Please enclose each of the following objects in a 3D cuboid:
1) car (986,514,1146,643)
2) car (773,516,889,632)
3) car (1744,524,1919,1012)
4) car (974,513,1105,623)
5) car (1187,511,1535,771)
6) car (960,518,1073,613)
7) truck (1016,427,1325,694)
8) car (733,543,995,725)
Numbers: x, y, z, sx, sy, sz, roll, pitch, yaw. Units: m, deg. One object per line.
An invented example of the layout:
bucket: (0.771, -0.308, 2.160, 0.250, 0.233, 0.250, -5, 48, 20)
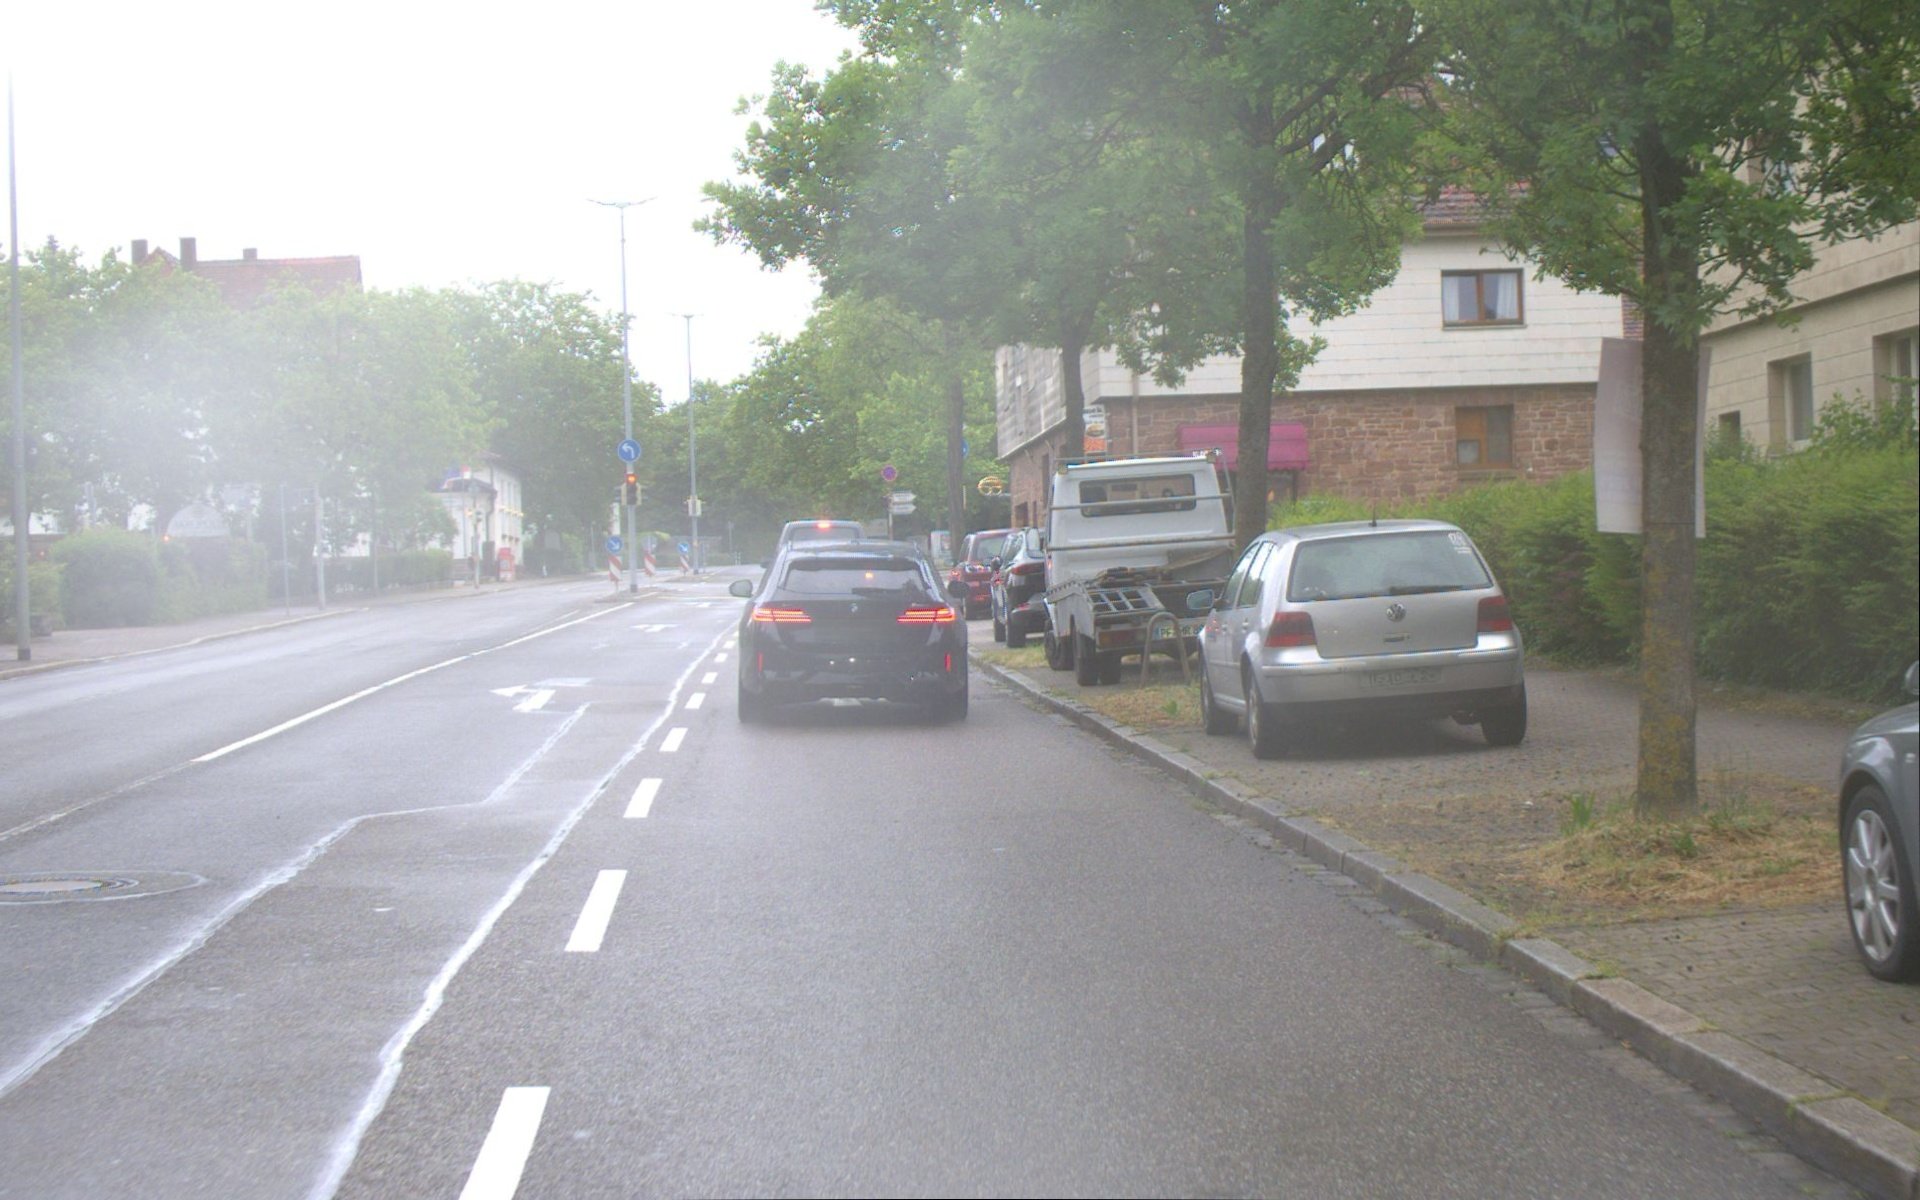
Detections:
car: (1.346, -0.317, 45.056, 1.714, 1.493, 4.184, -4, 1, -2)
car: (-2.166, -0.459, 56.830, 1.783, 1.811, 4.001, -1, 1, -4)
car: (3.636, 0.468, 9.247, 1.688, 1.385, 4.500, -4, 1, -4)
car: (1.149, -0.503, 51.120, 1.604, 1.467, 3.857, -4, 1, -2)
car: (2.563, 0.196, 22.807, 1.601, 1.431, 4.022, -4, 2, -2)
car: (0.960, -0.631, 60.464, 1.583, 1.485, 3.628, -4, 2, -4)
truck: (1.922, -0.415, 33.702, 2.080, 2.214, 6.503, -4, 1, -4)
car: (-0.913, 0.236, 29.691, 2.064, 1.441, 4.484, 0, 1, -4)
